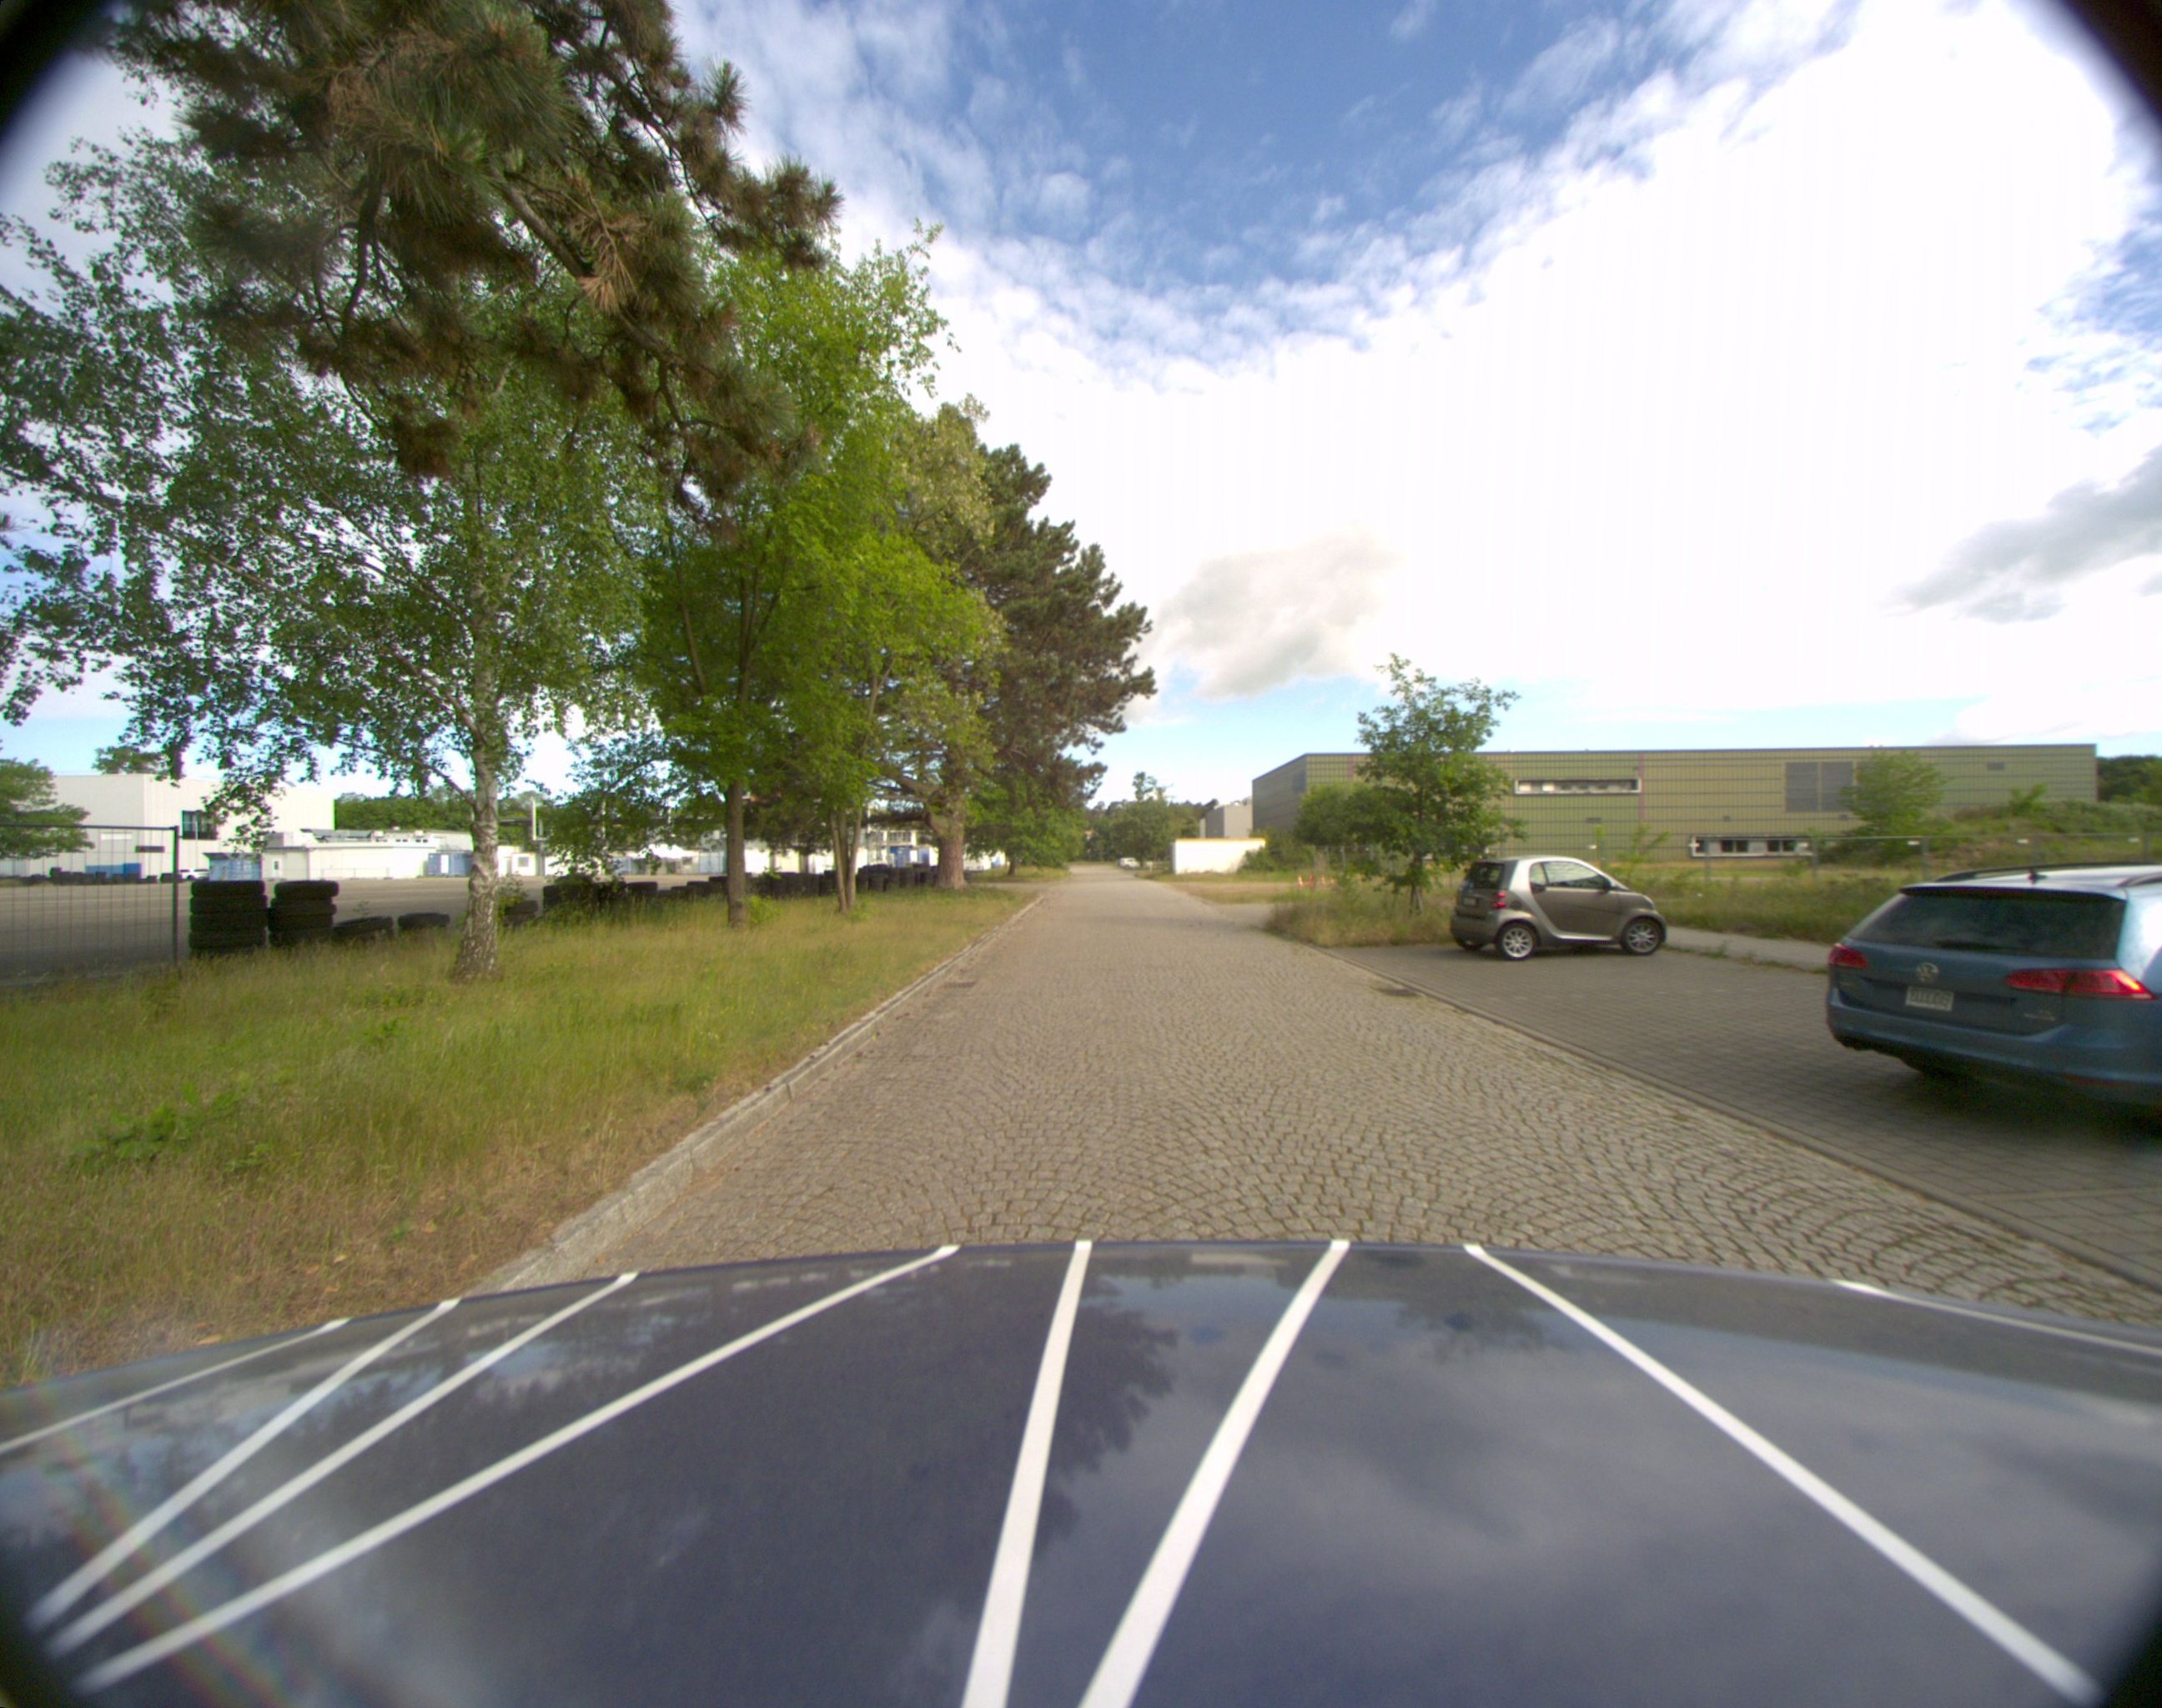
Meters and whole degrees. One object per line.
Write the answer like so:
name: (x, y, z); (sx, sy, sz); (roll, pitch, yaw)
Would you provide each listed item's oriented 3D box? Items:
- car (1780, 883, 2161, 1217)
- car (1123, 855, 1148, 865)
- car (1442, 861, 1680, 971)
car: (7.138, 0.940, 4.567); (4.317, 1.420, 1.773); (-2, 0, -2)
car: (8.529, 0.975, 119.092); (3.996, 1.604, 1.798); (0, 0, 4)
car: (7.372, 0.907, 11.865); (2.661, 1.502, 1.610); (-2, 0, 0)
